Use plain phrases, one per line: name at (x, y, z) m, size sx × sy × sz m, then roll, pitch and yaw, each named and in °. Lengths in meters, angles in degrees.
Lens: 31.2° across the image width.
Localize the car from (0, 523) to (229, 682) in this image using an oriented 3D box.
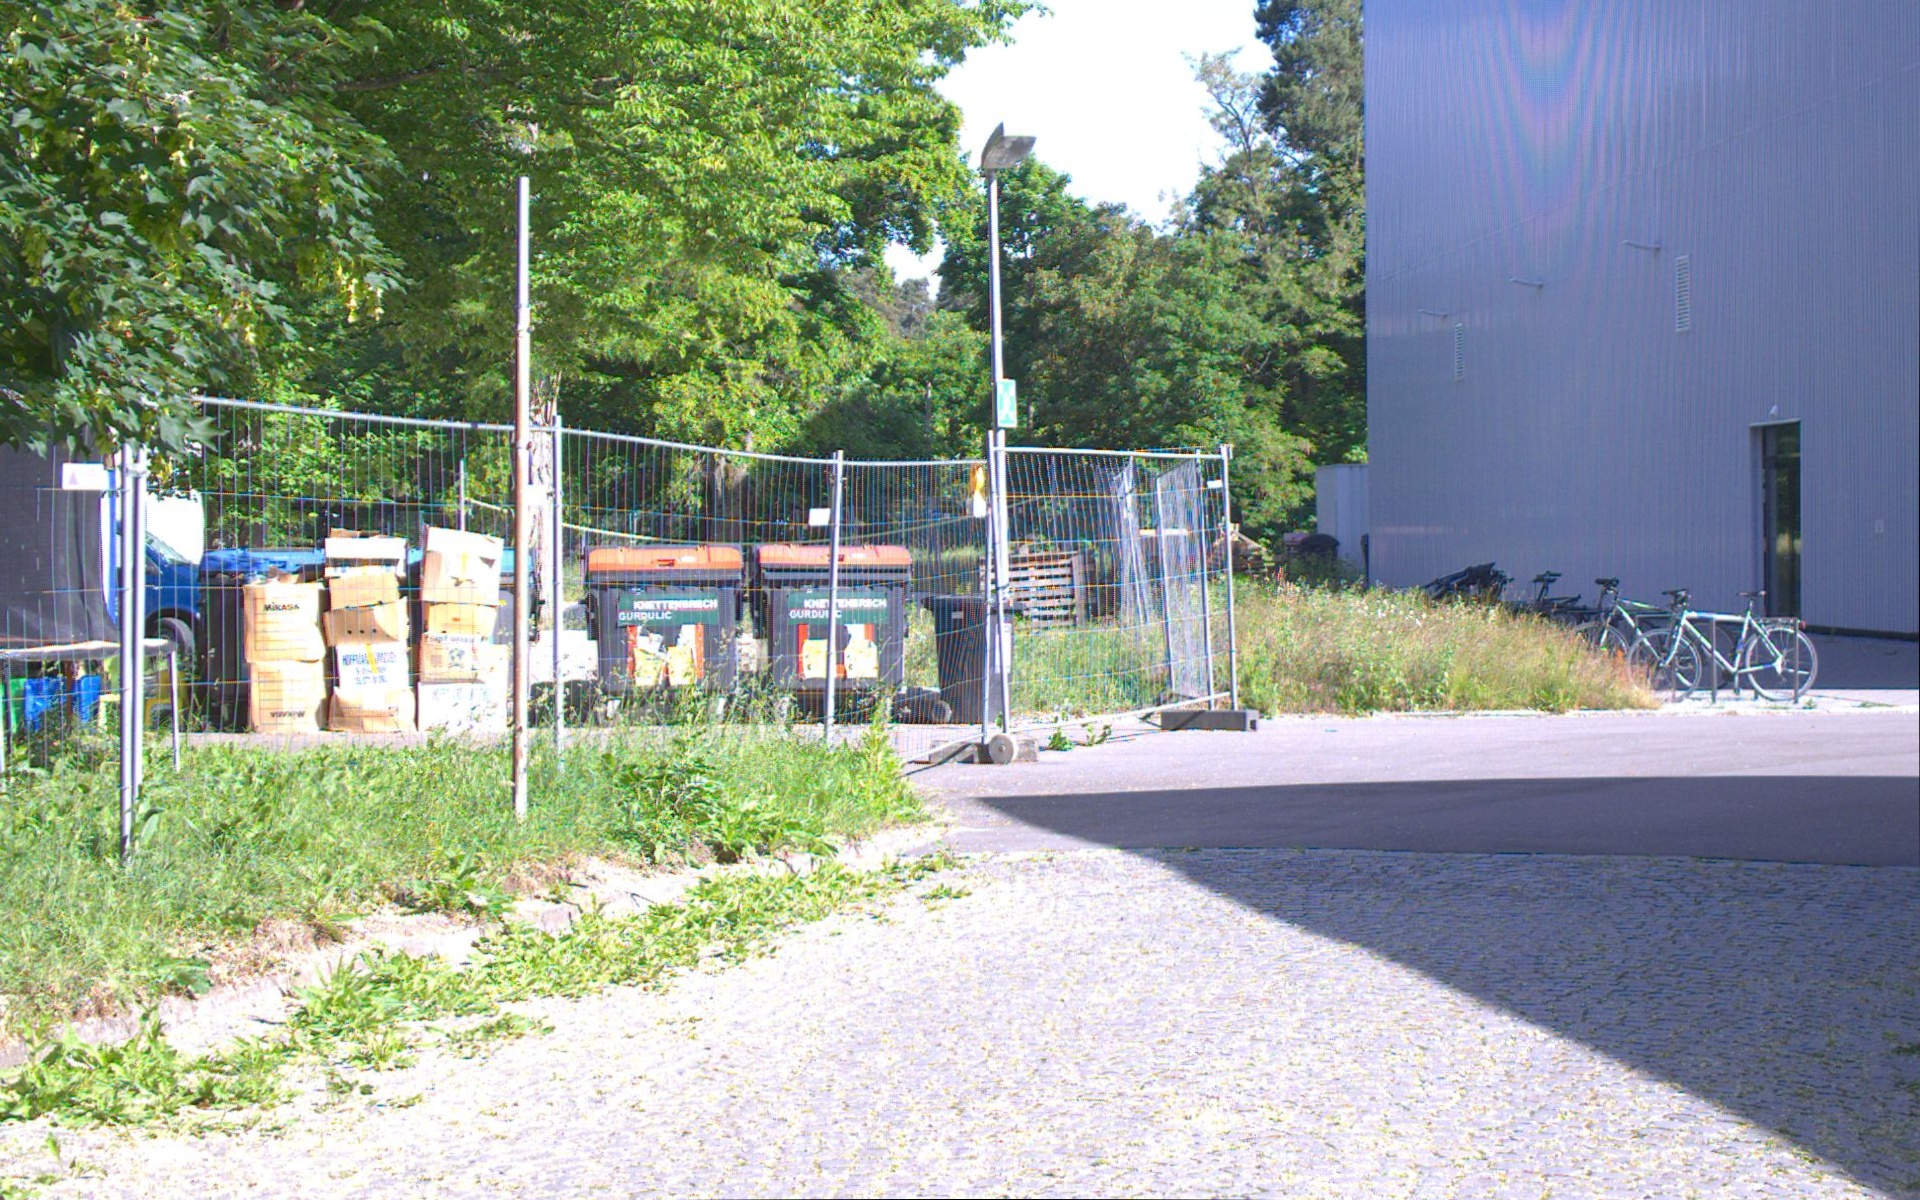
car at (-11.796, 0.054, 43.742) m, size 4.709 × 1.895 × 2.000 m, roll -2°, pitch 0°, yaw -8°

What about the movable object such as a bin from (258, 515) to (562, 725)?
movable object such as a bin at (-4.321, 0.139, 27.002) m, size 2.287 × 1.586 × 1.175 m, roll -1°, pitch 1°, yaw -10°

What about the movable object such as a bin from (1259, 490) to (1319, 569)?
movable object such as a bin at (8.403, -1.802, 87.757) m, size 1.418 × 2.007 × 1.125 m, roll -1°, pitch 1°, yaw 0°

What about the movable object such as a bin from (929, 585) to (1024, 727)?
movable object such as a bin at (0.124, 0.436, 27.428) m, size 0.736 × 1.094 × 0.819 m, roll -1°, pitch 1°, yaw 0°

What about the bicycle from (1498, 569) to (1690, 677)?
bicycle at (6.636, 0.235, 35.987) m, size 1.887 × 1.091 × 0.526 m, roll -1°, pitch 0°, yaw -5°

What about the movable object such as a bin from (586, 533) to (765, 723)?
movable object such as a bin at (-2.275, 0.213, 27.439) m, size 1.337 × 1.479 × 0.807 m, roll -1°, pitch 1°, yaw -10°

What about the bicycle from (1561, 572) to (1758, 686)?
bicycle at (6.796, 0.278, 33.439) m, size 1.792 × 1.079 × 0.525 m, roll -1°, pitch 1°, yaw -2°

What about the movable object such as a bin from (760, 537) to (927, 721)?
movable object such as a bin at (-0.942, 0.224, 27.568) m, size 1.244 × 1.439 × 0.703 m, roll -1°, pitch 1°, yaw -10°

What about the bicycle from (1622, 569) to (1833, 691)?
bicycle at (6.885, 0.264, 30.867) m, size 1.799 × 1.058 × 0.459 m, roll -1°, pitch 1°, yaw -9°

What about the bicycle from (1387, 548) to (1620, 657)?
bicycle at (6.556, 0.022, 41.617) m, size 2.630 × 1.262 × 1.141 m, roll -1°, pitch 1°, yaw 0°
